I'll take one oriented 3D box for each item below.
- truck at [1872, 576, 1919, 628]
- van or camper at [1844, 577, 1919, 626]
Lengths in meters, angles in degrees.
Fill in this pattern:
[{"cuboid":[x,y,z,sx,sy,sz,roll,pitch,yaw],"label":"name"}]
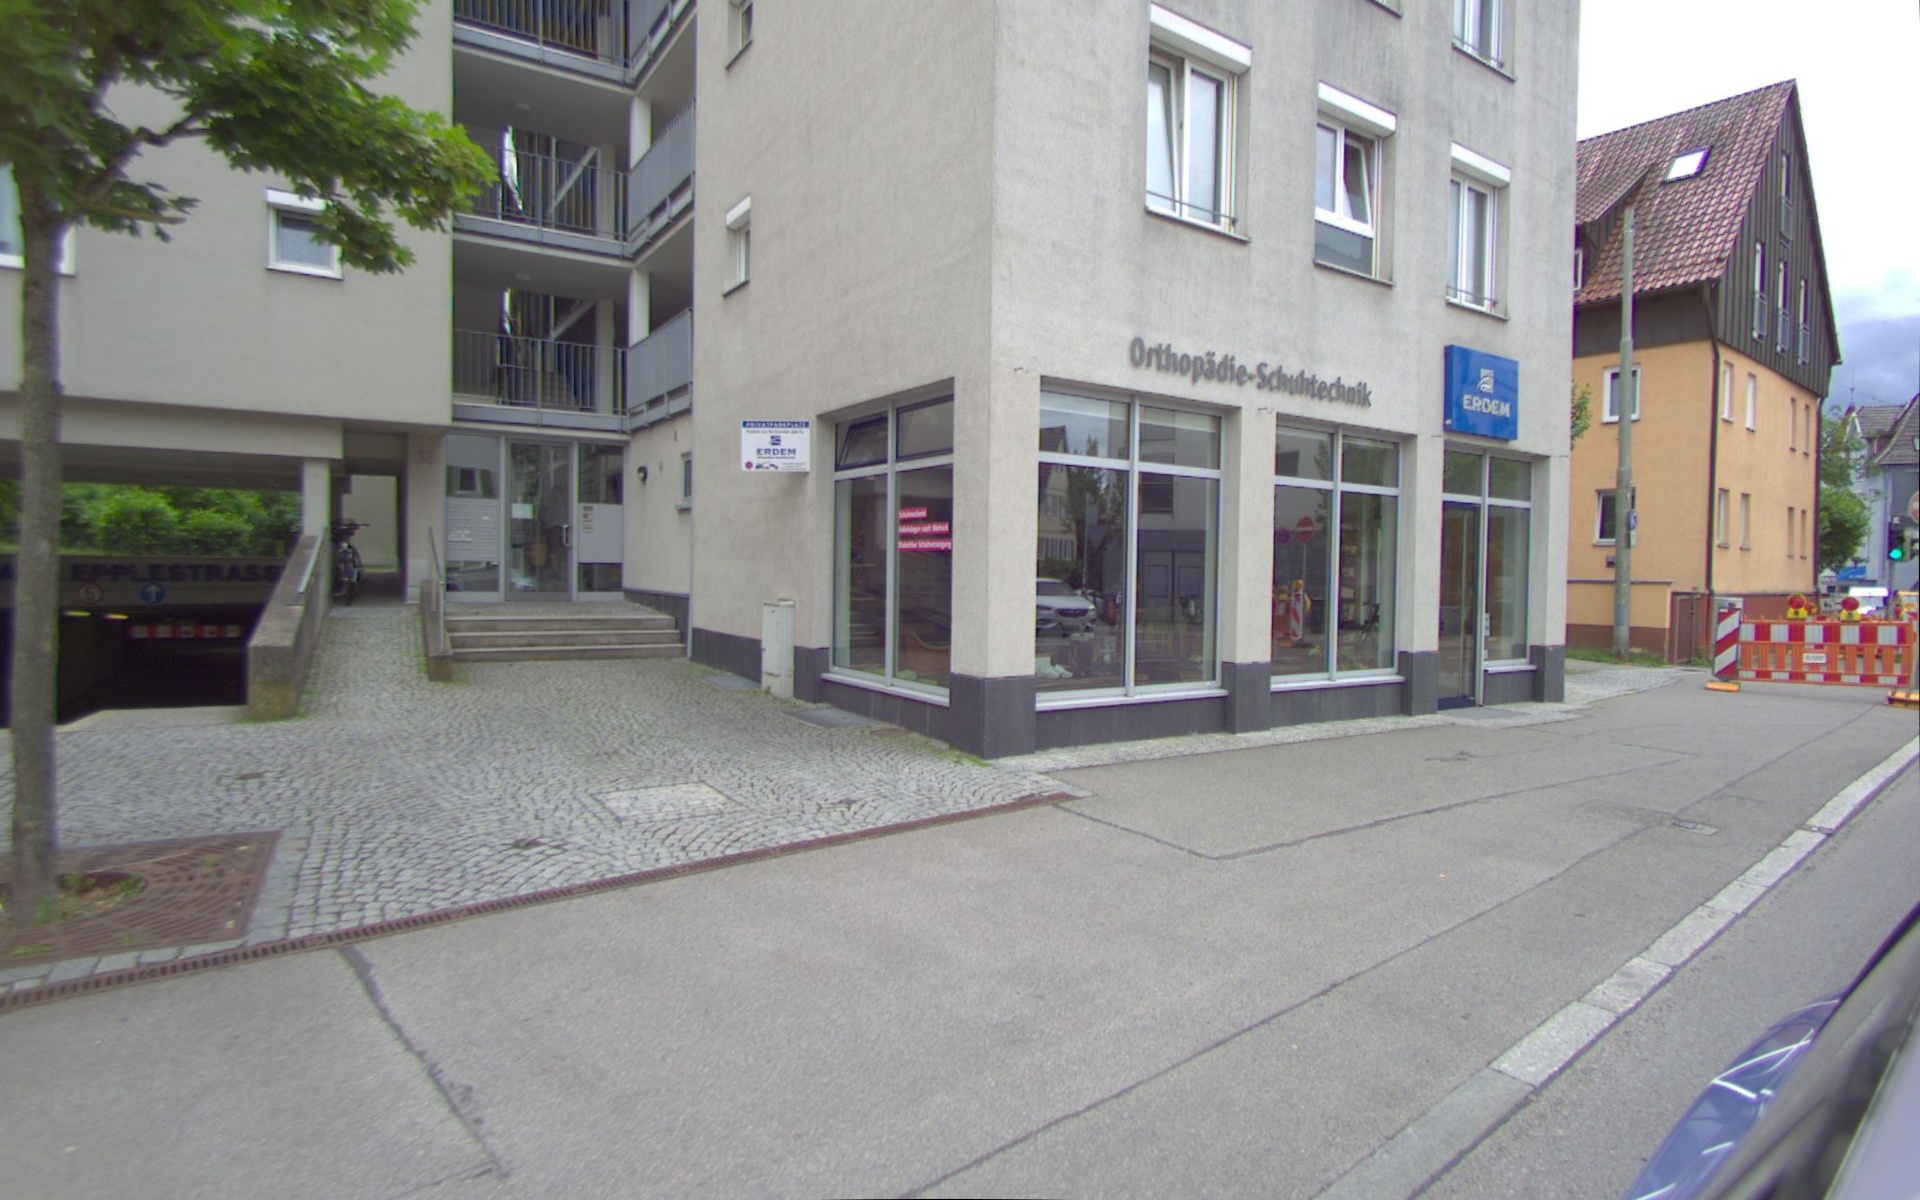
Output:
[{"cuboid":[48.341,0.159,50.741,2.401,2.496,6.242,3,1,29],"label":"truck"},{"cuboid":[53.187,0.095,58.511,2.311,2.640,6.131,2,1,34],"label":"van or camper"}]
